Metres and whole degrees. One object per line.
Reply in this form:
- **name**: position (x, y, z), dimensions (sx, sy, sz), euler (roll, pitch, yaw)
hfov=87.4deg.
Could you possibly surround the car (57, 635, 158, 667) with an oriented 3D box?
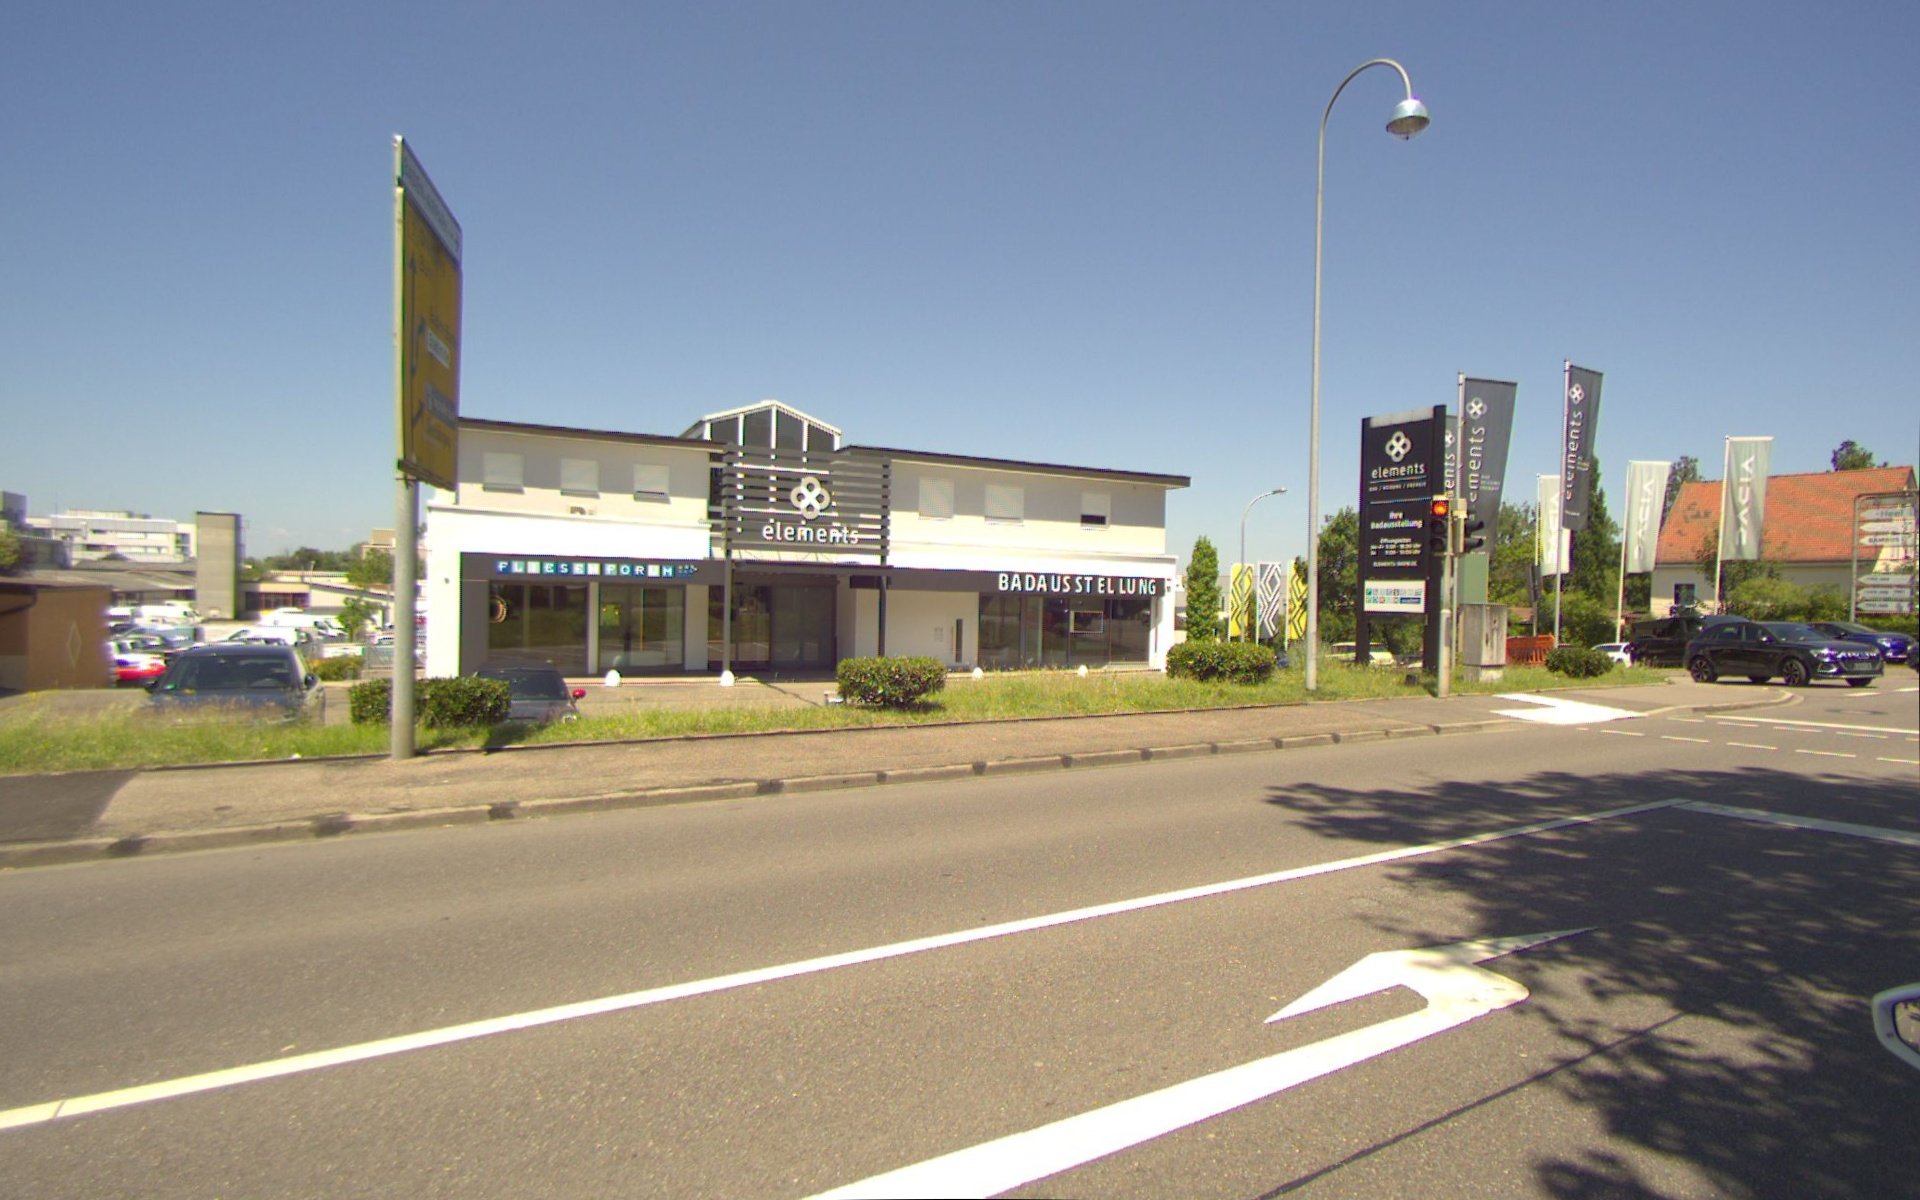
- **car**: position (-47.352, 2.848, 55.895), dimensions (3.953, 1.627, 1.823), euler (2, 1, -30)

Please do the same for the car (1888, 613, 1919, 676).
- **car**: position (28.937, 1.288, 28.089), dimensions (4.225, 1.740, 1.885), euler (1, 0, -1)

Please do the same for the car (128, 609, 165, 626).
- **car**: position (-79.884, 1.689, 98.682), dimensions (1.974, 1.617, 3.972), euler (1, -1, -27)

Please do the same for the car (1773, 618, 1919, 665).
- **car**: position (29.831, 1.364, 33.891), dimensions (1.585, 1.446, 3.466), euler (1, -1, -36)

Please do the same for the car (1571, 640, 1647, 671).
- **car**: position (28.862, 2.450, 44.675), dimensions (3.210, 1.242, 1.736), euler (1, 0, -35)

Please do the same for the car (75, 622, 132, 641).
- **car**: position (-67.300, 2.456, 78.990), dimensions (3.089, 1.403, 1.672), euler (2, 0, -30)

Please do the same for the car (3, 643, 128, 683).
- **car**: position (-40.884, 2.847, 46.037), dimensions (3.953, 1.674, 1.735), euler (2, 0, -30)

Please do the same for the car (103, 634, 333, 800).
- **car**: position (-9.908, 1.417, 13.779), dimensions (1.871, 1.709, 4.314), euler (2, 0, -28)

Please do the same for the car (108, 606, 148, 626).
- **car**: position (-84.701, 1.618, 102.301), dimensions (1.972, 1.853, 3.978), euler (2, 0, -23)

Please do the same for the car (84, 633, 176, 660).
- **car**: position (-49.433, 2.767, 59.914), dimensions (3.953, 1.494, 1.743), euler (2, 0, -30)

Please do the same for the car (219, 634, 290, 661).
- **car**: position (-41.498, 2.814, 59.134), dimensions (3.270, 1.484, 1.494), euler (2, 0, -30)

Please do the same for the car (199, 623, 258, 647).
- **car**: position (-50.608, 2.411, 69.509), dimensions (3.089, 1.554, 1.672), euler (2, 0, -30)

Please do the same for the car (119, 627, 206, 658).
- **car**: position (-49.771, 2.612, 62.767), dimensions (3.953, 1.839, 1.984), euler (1, 0, -30)

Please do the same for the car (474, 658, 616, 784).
- **car**: position (-6.280, 1.697, 15.043), dimensions (1.756, 1.442, 3.327), euler (1, 0, -25)

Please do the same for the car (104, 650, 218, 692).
- **car**: position (-36.056, 3.179, 45.449), dimensions (3.772, 1.750, 1.739), euler (2, 0, -30)

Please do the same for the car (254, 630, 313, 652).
- **car**: position (-42.754, 2.590, 63.524), dimensions (3.009, 1.316, 1.295), euler (2, 0, -31)

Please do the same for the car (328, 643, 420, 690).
- **car**: position (-28.297, 3.175, 48.634), dimensions (1.838, 1.965, 3.790), euler (1, 0, 9)

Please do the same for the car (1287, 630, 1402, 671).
- **car**: position (16.019, 2.053, 42.024), dimensions (1.975, 1.507, 4.279), euler (1, 0, -27)

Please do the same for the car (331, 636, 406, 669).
- **car**: position (-34.986, 3.090, 59.460), dimensions (3.769, 1.817, 1.765), euler (1, 1, -30)

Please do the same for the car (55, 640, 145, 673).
- **car**: position (-44.596, 2.931, 52.182), dimensions (3.283, 1.567, 1.518), euler (2, 0, -30)

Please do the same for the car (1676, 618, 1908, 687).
- **car**: position (20.466, 1.271, 24.993), dimensions (1.893, 1.546, 4.302), euler (1, -2, -8)

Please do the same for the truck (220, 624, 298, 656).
- **truck**: position (-45.403, 2.588, 65.122), dimensions (3.937, 2.003, 1.672), euler (2, 0, -30)

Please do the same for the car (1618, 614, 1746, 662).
- **car**: position (25.964, 1.339, 36.200), dimensions (1.585, 1.638, 3.466), euler (1, -1, -36)

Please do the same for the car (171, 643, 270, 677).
- **car**: position (-39.021, 3.164, 53.126), dimensions (3.953, 1.657, 1.835), euler (2, -1, -30)
